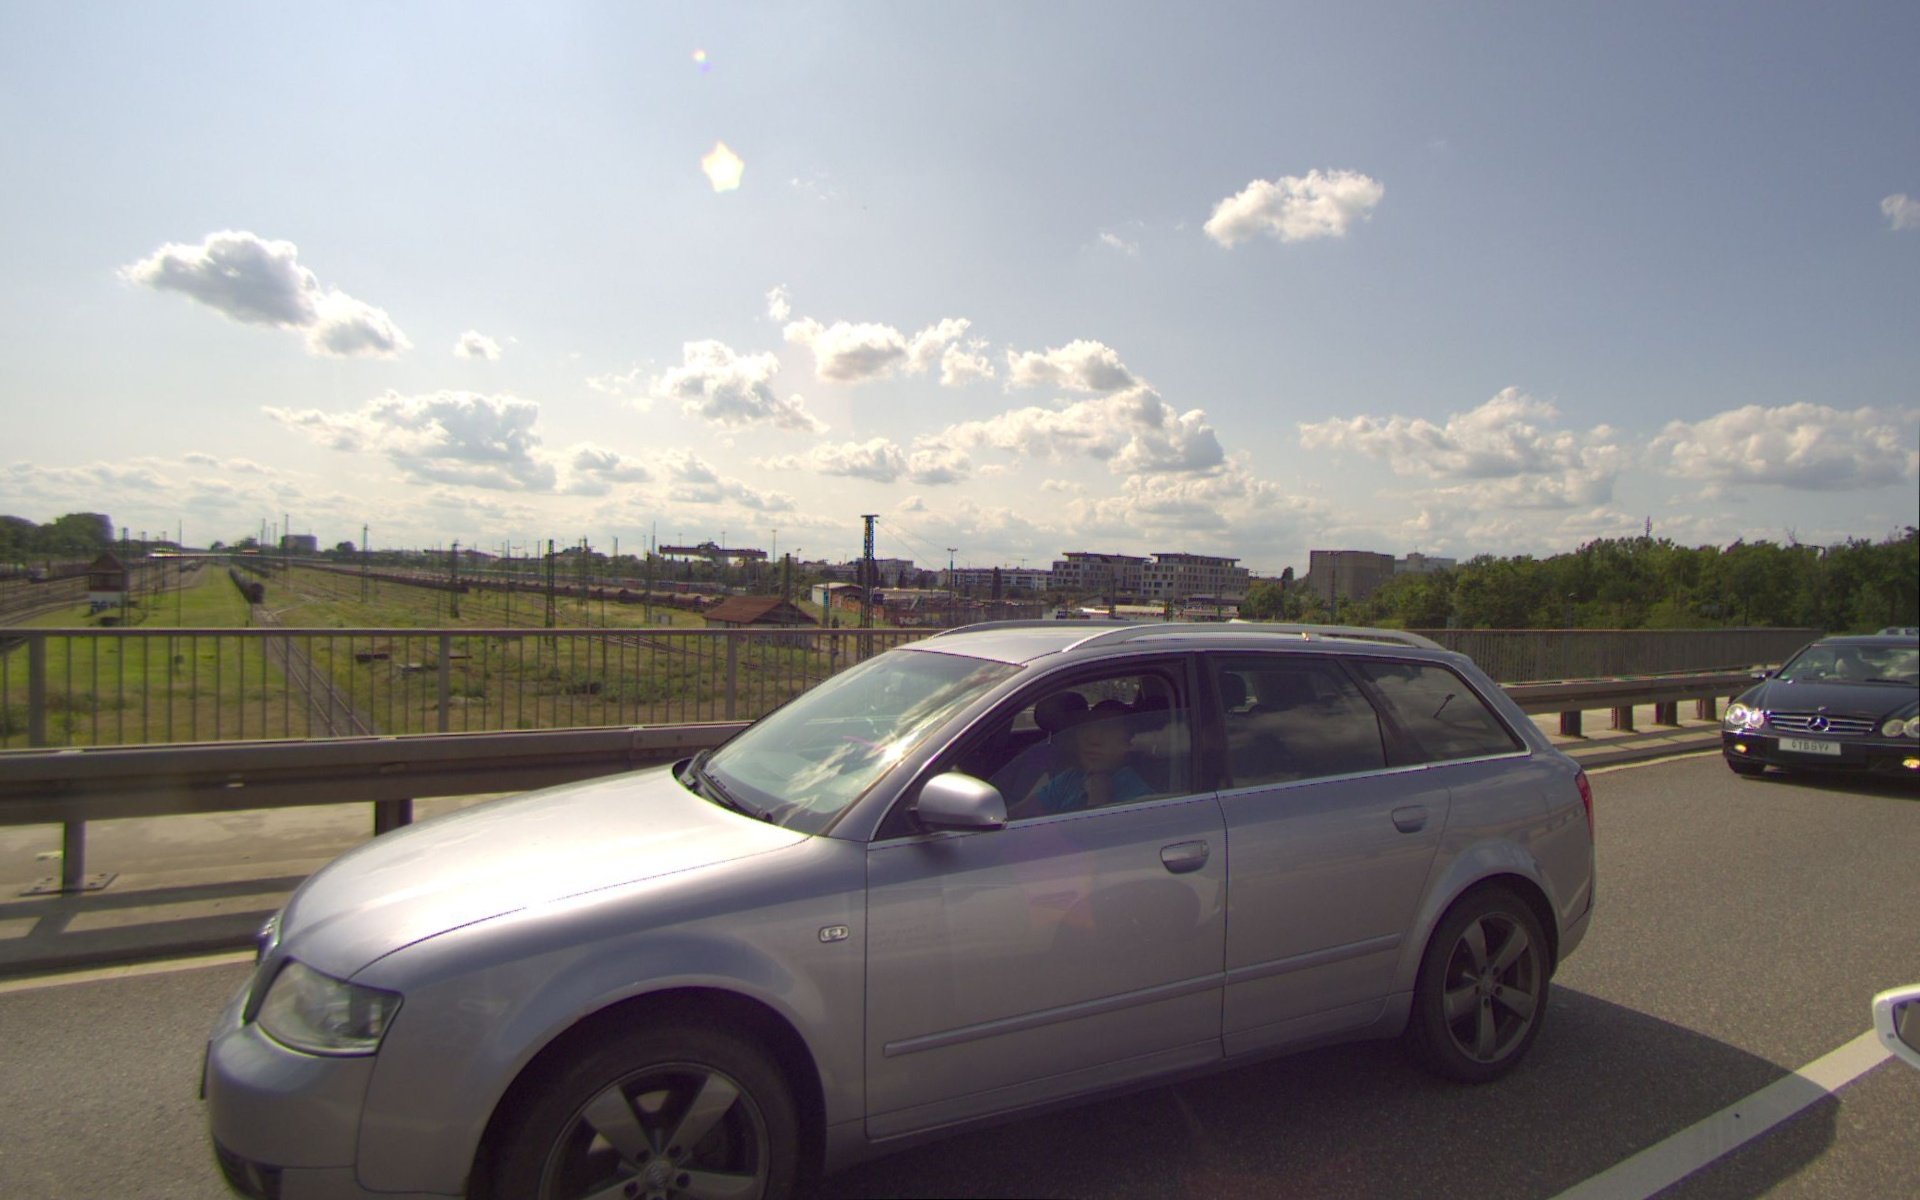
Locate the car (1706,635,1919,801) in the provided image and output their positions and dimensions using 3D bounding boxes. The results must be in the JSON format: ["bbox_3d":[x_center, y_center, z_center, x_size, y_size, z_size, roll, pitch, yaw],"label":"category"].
[{"bbox_3d":[9.276,1.059,10.132,4.212,1.362,1.621,2,-2,-36],"label":"car"}]

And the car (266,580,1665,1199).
[{"bbox_3d":[0.325,0.781,3.433,4.246,1.479,1.759,2,-2,-29],"label":"car"}]
